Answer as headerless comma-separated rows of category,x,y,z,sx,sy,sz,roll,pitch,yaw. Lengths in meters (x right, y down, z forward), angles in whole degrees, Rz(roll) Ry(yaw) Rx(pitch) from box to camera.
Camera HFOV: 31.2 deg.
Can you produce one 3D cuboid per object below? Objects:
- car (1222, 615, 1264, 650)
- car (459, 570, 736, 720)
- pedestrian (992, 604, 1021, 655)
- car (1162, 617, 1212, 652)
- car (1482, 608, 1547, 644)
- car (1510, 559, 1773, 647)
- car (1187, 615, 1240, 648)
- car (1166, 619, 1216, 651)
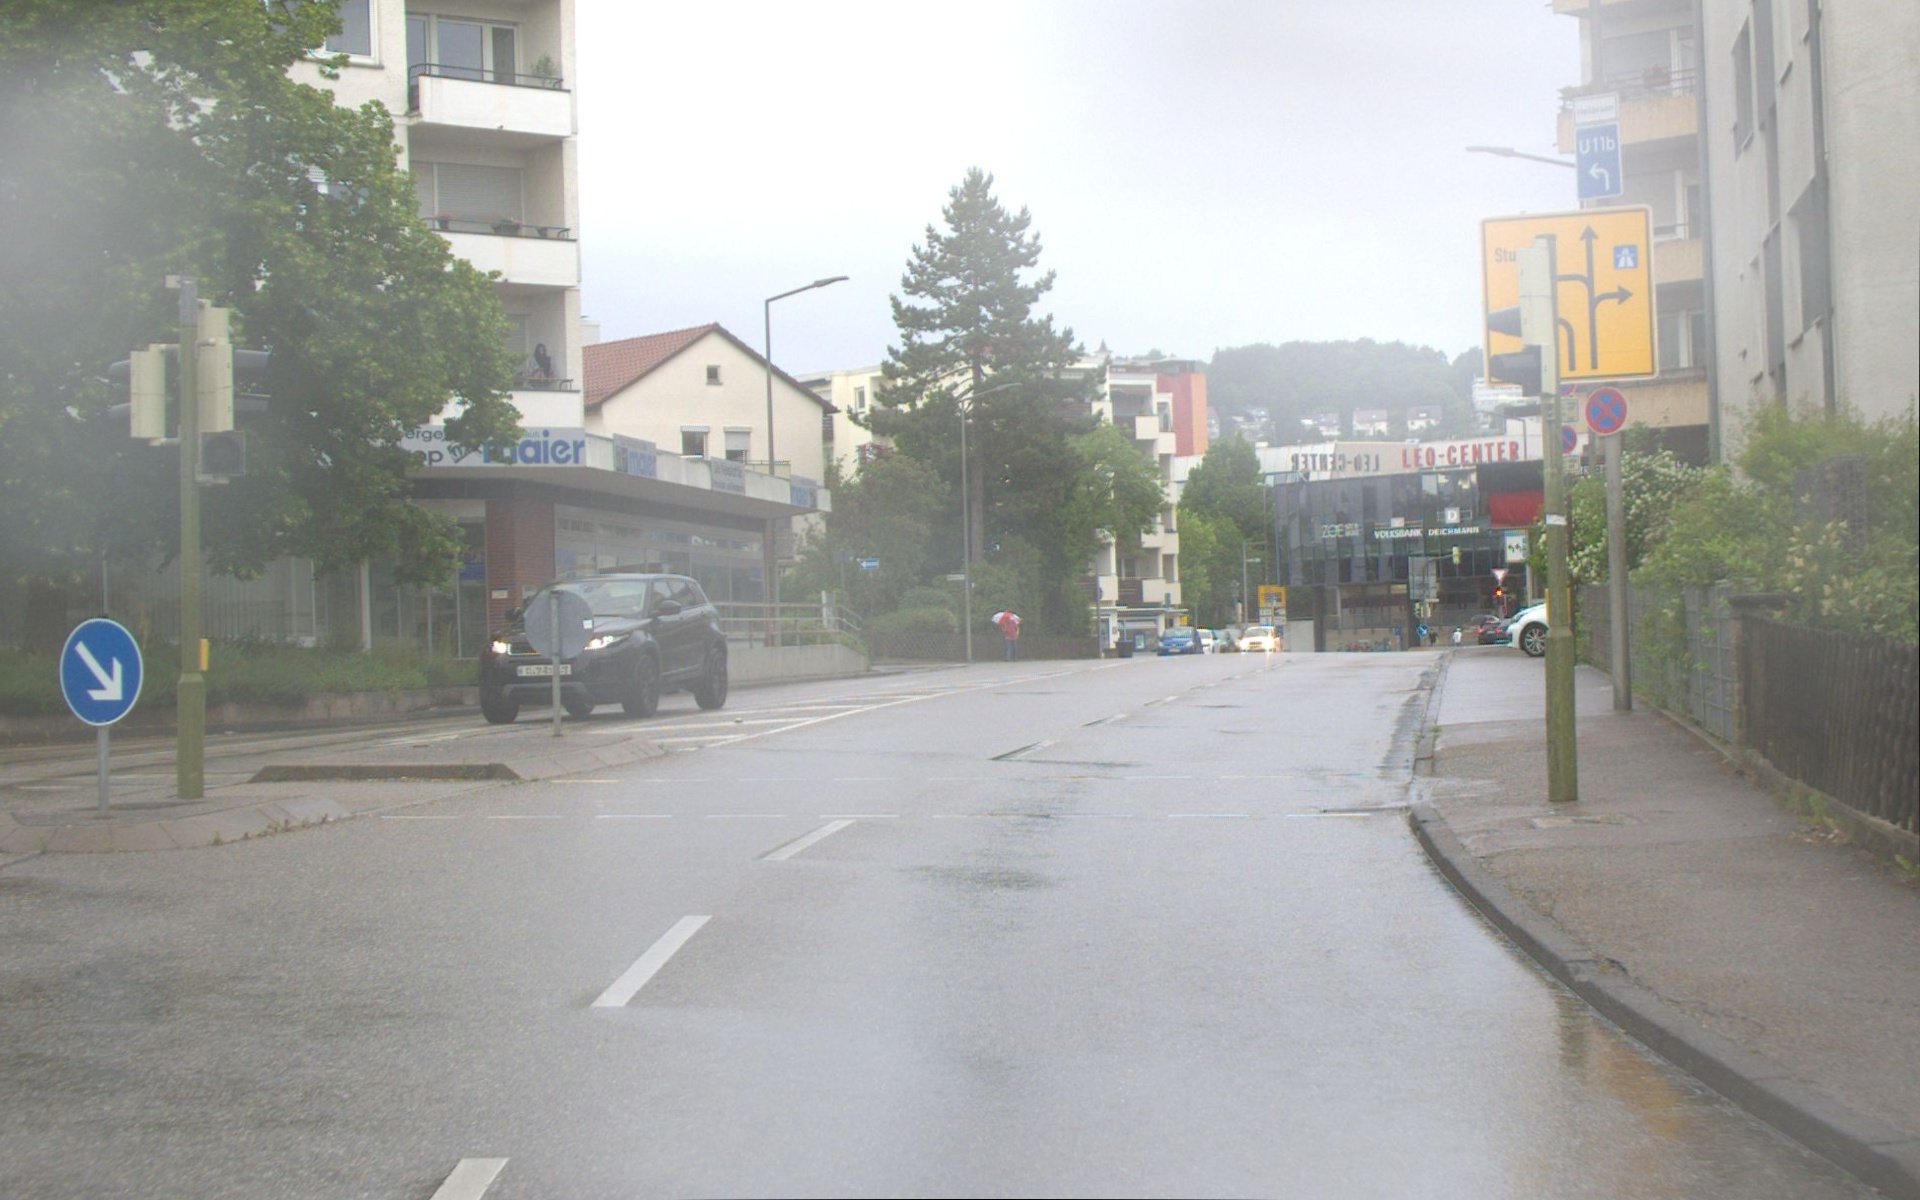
car,13.089,1.503,158.959,1.698,1.404,3.999,-4,0,7
car,-4.034,0.473,38.970,1.803,1.551,4.316,-1,1,13
pedestrian,1.492,0.967,110.912,0.869,1.601,1.103,-1,-2,2
car,10.235,1.550,154.911,1.652,1.516,4.322,-1,-1,12
car,25.236,1.192,156.273,1.995,1.528,4.641,-1,-2,21
car,12.365,0.069,62.492,4.266,1.489,1.869,-1,2,37
car,12.256,1.520,165.896,1.935,1.536,4.518,-1,-1,12
car,10.809,1.643,160.620,1.694,1.459,4.681,-1,-1,12
